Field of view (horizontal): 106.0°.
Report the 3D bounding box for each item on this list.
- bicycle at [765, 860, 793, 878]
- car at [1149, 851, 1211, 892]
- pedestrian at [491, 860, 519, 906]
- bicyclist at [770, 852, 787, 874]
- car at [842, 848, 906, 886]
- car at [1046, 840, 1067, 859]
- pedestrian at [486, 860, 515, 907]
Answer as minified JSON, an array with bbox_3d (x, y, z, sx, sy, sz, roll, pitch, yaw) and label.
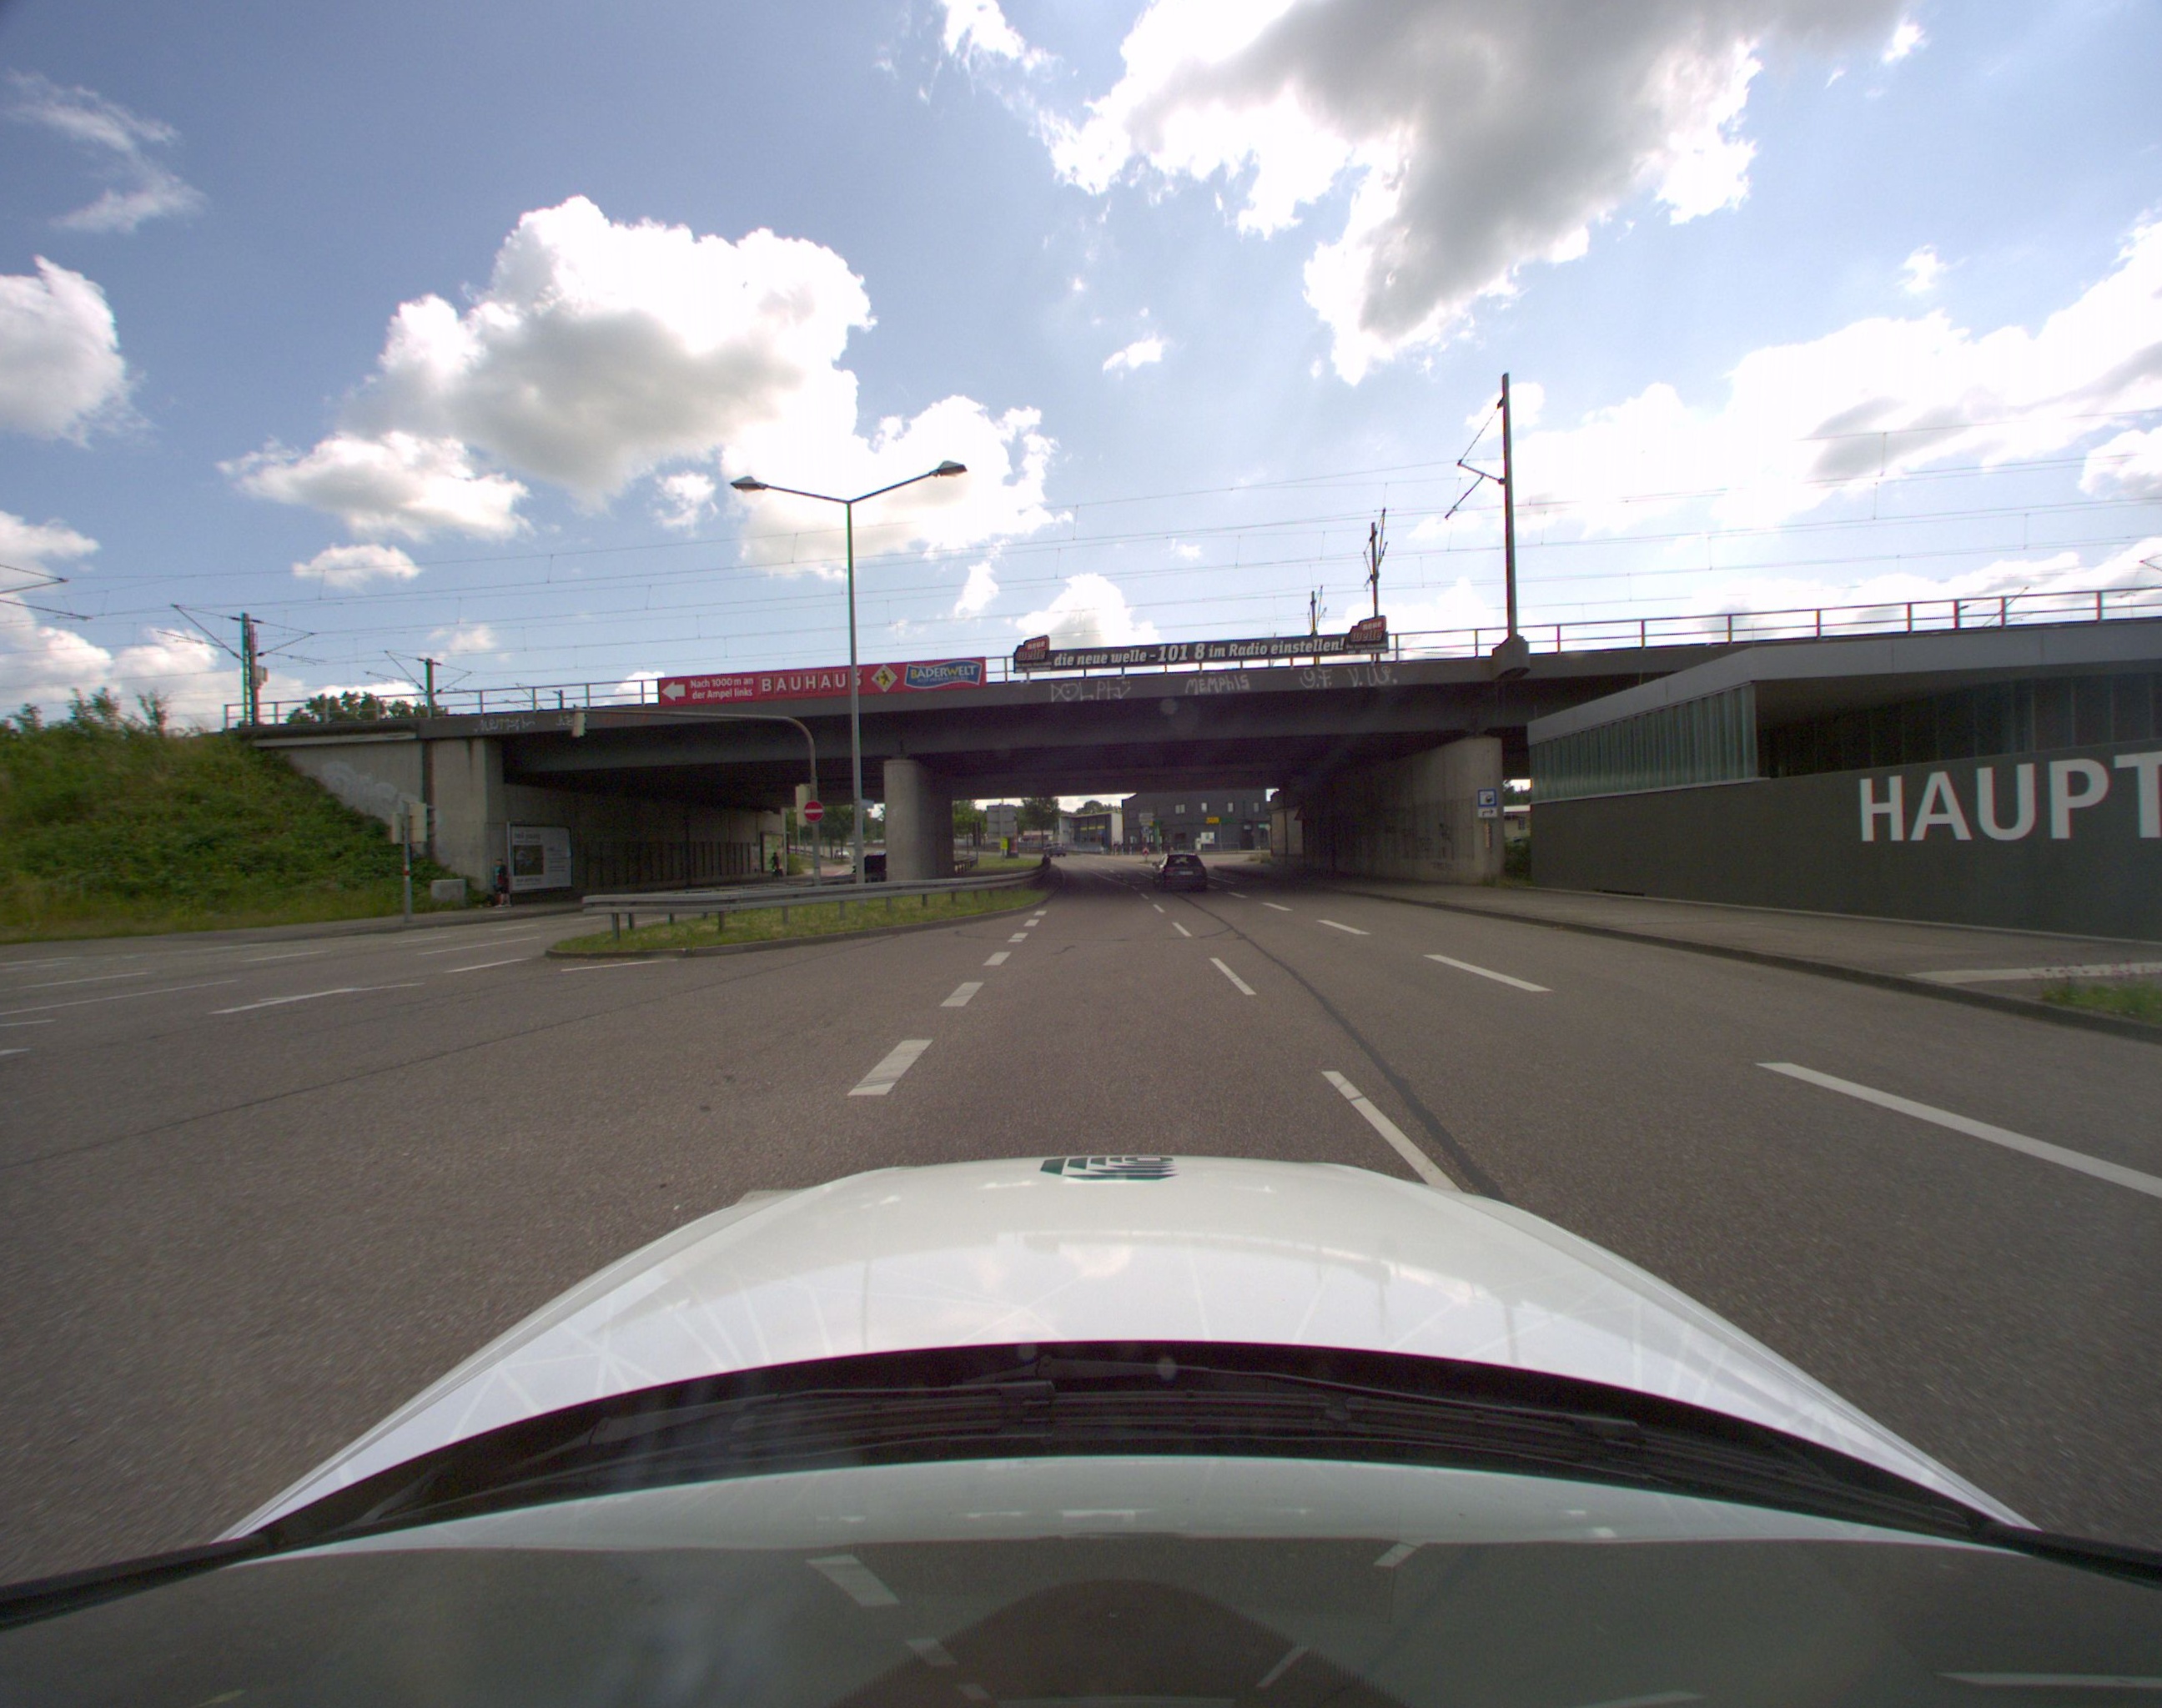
[{"bbox_3d":[-19.622,0.955,52.923,0.676,1.142,2.289,0,0,9],"label":"bicycle"},{"bbox_3d":[3.765,0.625,31.828,1.986,1.390,4.577,0,1,1],"label":"car"},{"bbox_3d":[-21.324,1.065,30.134,0.552,1.625,0.586,-2,0,2],"label":"pedestrian"},{"bbox_3d":[-19.636,0.560,52.850,0.677,1.408,0.927,0,0,9],"label":"bicyclist"},{"bbox_3d":[-10.393,0.615,41.210,1.987,1.759,4.716,-2,0,0],"label":"car"},{"bbox_3d":[-2.767,-0.460,91.791,1.991,2.037,4.703,-2,0,-6],"label":"car"},{"bbox_3d":[-20.930,1.058,29.347,0.589,1.681,0.556,-2,0,-1],"label":"pedestrian"}]
